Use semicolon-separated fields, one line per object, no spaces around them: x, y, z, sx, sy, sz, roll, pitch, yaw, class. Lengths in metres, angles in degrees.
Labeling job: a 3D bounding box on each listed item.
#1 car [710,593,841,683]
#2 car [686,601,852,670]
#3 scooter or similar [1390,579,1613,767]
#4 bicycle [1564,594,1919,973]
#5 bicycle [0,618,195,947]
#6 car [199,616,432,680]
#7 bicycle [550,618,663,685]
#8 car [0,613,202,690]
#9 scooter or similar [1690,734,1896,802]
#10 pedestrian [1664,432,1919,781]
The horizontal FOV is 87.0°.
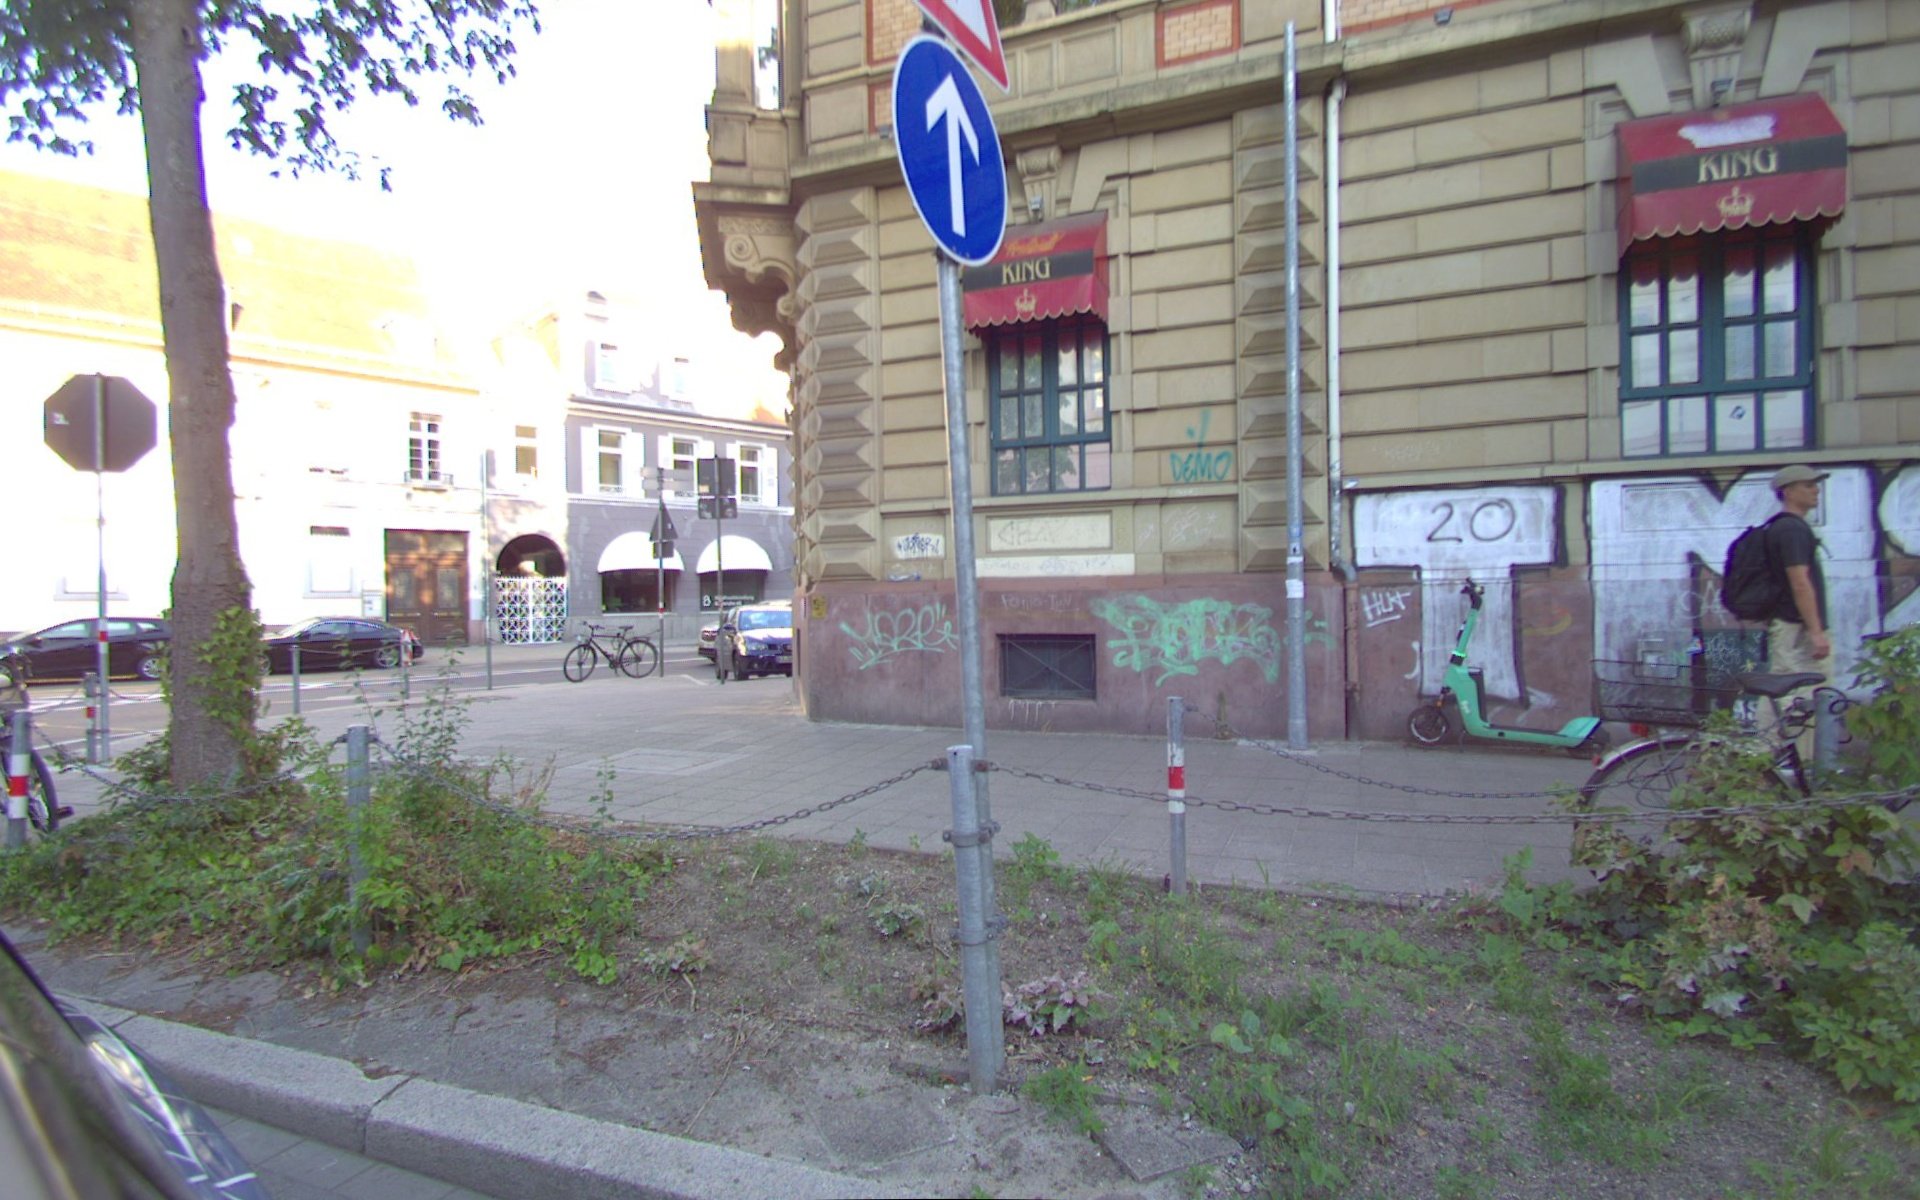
-3.545;0.751;18.884;1.711;1.472;3.875;-1;-3;-20;car
-4.753;0.837;25.728;1.687;1.601;4.188;0;-1;34;car
3.689;0.464;6.935;1.284;1.176;0.434;-1;1;36;scooter or similar
3.239;0.570;3.314;2.088;1.162;0.508;-1;1;24;bicycle
-4.630;0.741;4.927;2.569;1.277;0.835;-2;-1;38;bicycle
-16.384;1.169;25.902;4.784;1.405;1.780;-1;-1;-43;car
-6.437;0.930;18.462;1.774;1.134;0.730;-1;-3;-36;bicycle
-19.782;1.119;22.629;4.365;1.553;1.809;0;-1;-44;car
4.720;0.941;5.753;0.882;0.208;0.412;1;4;43;scooter or similar
4.811;0.029;5.682;1.267;1.752;0.839;-2;1;43;pedestrian
